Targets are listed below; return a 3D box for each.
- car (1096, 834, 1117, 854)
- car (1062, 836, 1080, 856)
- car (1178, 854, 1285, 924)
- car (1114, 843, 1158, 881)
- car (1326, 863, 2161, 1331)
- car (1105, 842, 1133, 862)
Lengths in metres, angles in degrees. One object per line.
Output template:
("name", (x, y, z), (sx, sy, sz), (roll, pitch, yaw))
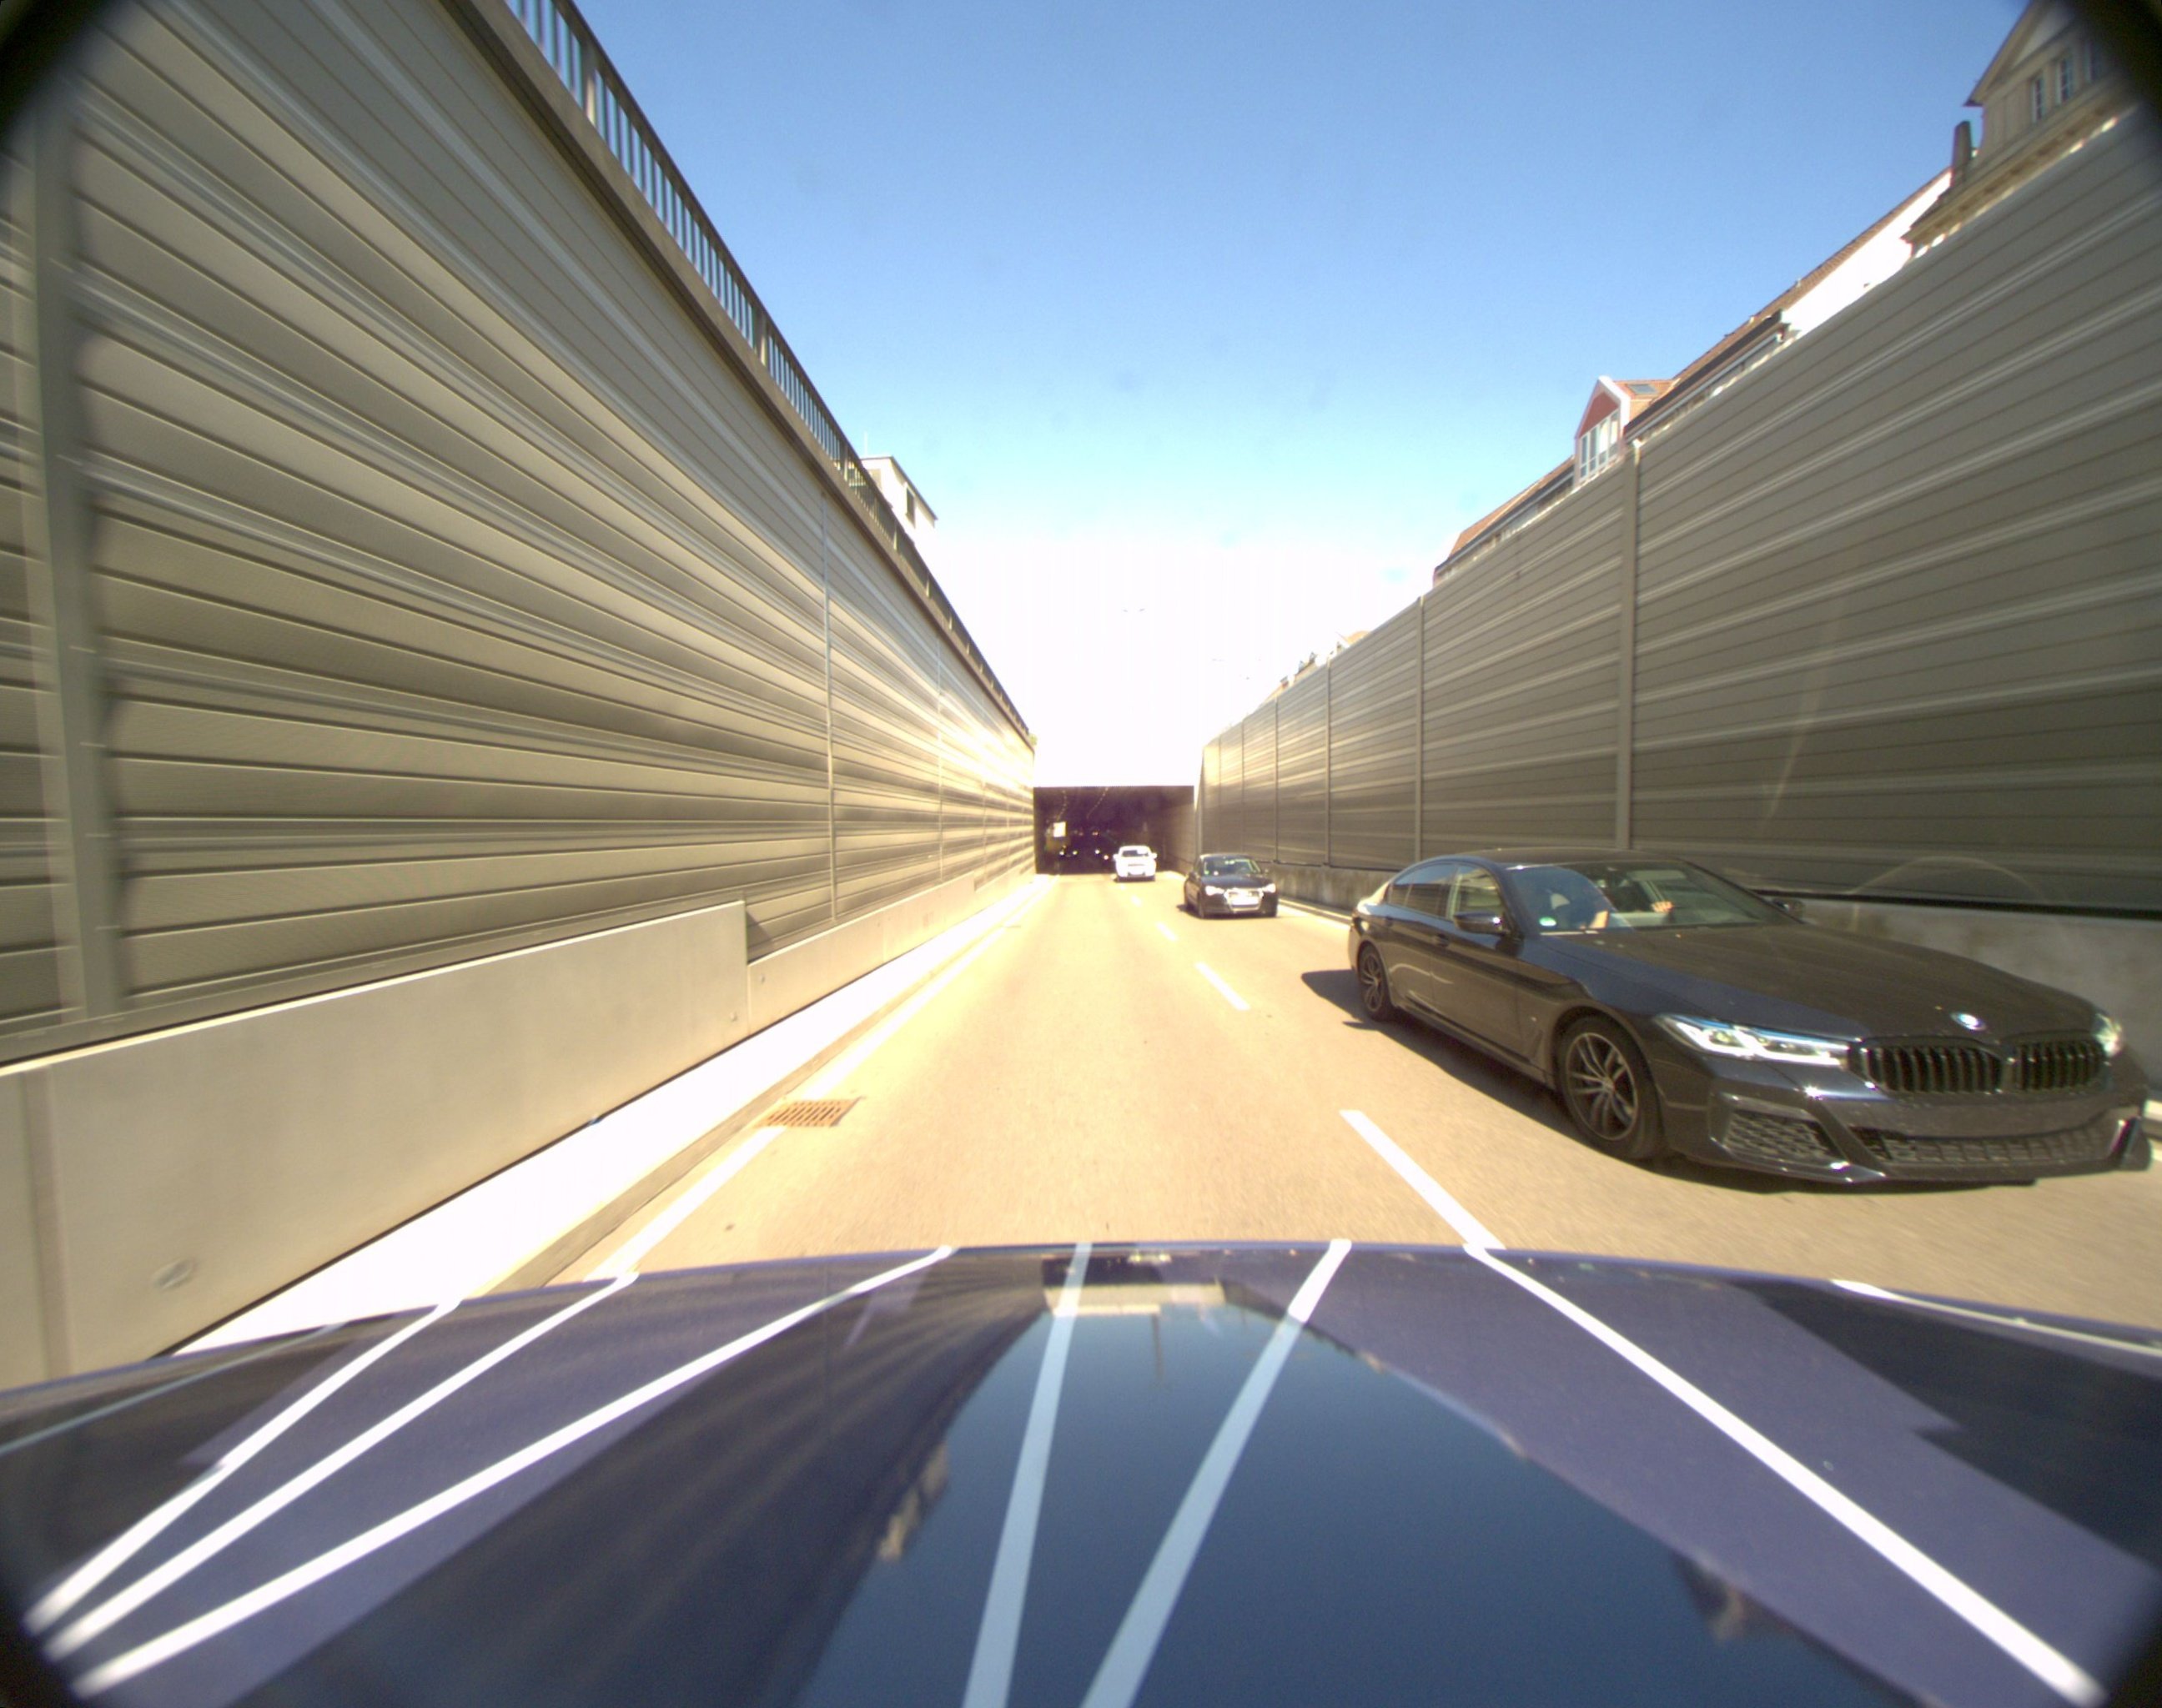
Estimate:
("car", (2.790, -1.150, 83.928), (1.999, 2.002, 3.998), (-2, 2, -1))
("car", (-1.018, -0.846, 80.302), (1.785, 2.002, 3.907), (-2, 2, 0))
("car", (3.406, 0.728, 17.884), (1.700, 1.410, 3.888), (-2, 0, 0))
("car", (2.586, 0.342, 36.345), (1.855, 1.658, 3.970), (-1, 1, 1))
("car", (3.344, 0.841, 5.029), (1.813, 1.431, 5.002), (-2, 0, 0))
("car", (2.935, -0.183, 59.960), (1.998, 1.407, 3.999), (-2, 1, 1))
